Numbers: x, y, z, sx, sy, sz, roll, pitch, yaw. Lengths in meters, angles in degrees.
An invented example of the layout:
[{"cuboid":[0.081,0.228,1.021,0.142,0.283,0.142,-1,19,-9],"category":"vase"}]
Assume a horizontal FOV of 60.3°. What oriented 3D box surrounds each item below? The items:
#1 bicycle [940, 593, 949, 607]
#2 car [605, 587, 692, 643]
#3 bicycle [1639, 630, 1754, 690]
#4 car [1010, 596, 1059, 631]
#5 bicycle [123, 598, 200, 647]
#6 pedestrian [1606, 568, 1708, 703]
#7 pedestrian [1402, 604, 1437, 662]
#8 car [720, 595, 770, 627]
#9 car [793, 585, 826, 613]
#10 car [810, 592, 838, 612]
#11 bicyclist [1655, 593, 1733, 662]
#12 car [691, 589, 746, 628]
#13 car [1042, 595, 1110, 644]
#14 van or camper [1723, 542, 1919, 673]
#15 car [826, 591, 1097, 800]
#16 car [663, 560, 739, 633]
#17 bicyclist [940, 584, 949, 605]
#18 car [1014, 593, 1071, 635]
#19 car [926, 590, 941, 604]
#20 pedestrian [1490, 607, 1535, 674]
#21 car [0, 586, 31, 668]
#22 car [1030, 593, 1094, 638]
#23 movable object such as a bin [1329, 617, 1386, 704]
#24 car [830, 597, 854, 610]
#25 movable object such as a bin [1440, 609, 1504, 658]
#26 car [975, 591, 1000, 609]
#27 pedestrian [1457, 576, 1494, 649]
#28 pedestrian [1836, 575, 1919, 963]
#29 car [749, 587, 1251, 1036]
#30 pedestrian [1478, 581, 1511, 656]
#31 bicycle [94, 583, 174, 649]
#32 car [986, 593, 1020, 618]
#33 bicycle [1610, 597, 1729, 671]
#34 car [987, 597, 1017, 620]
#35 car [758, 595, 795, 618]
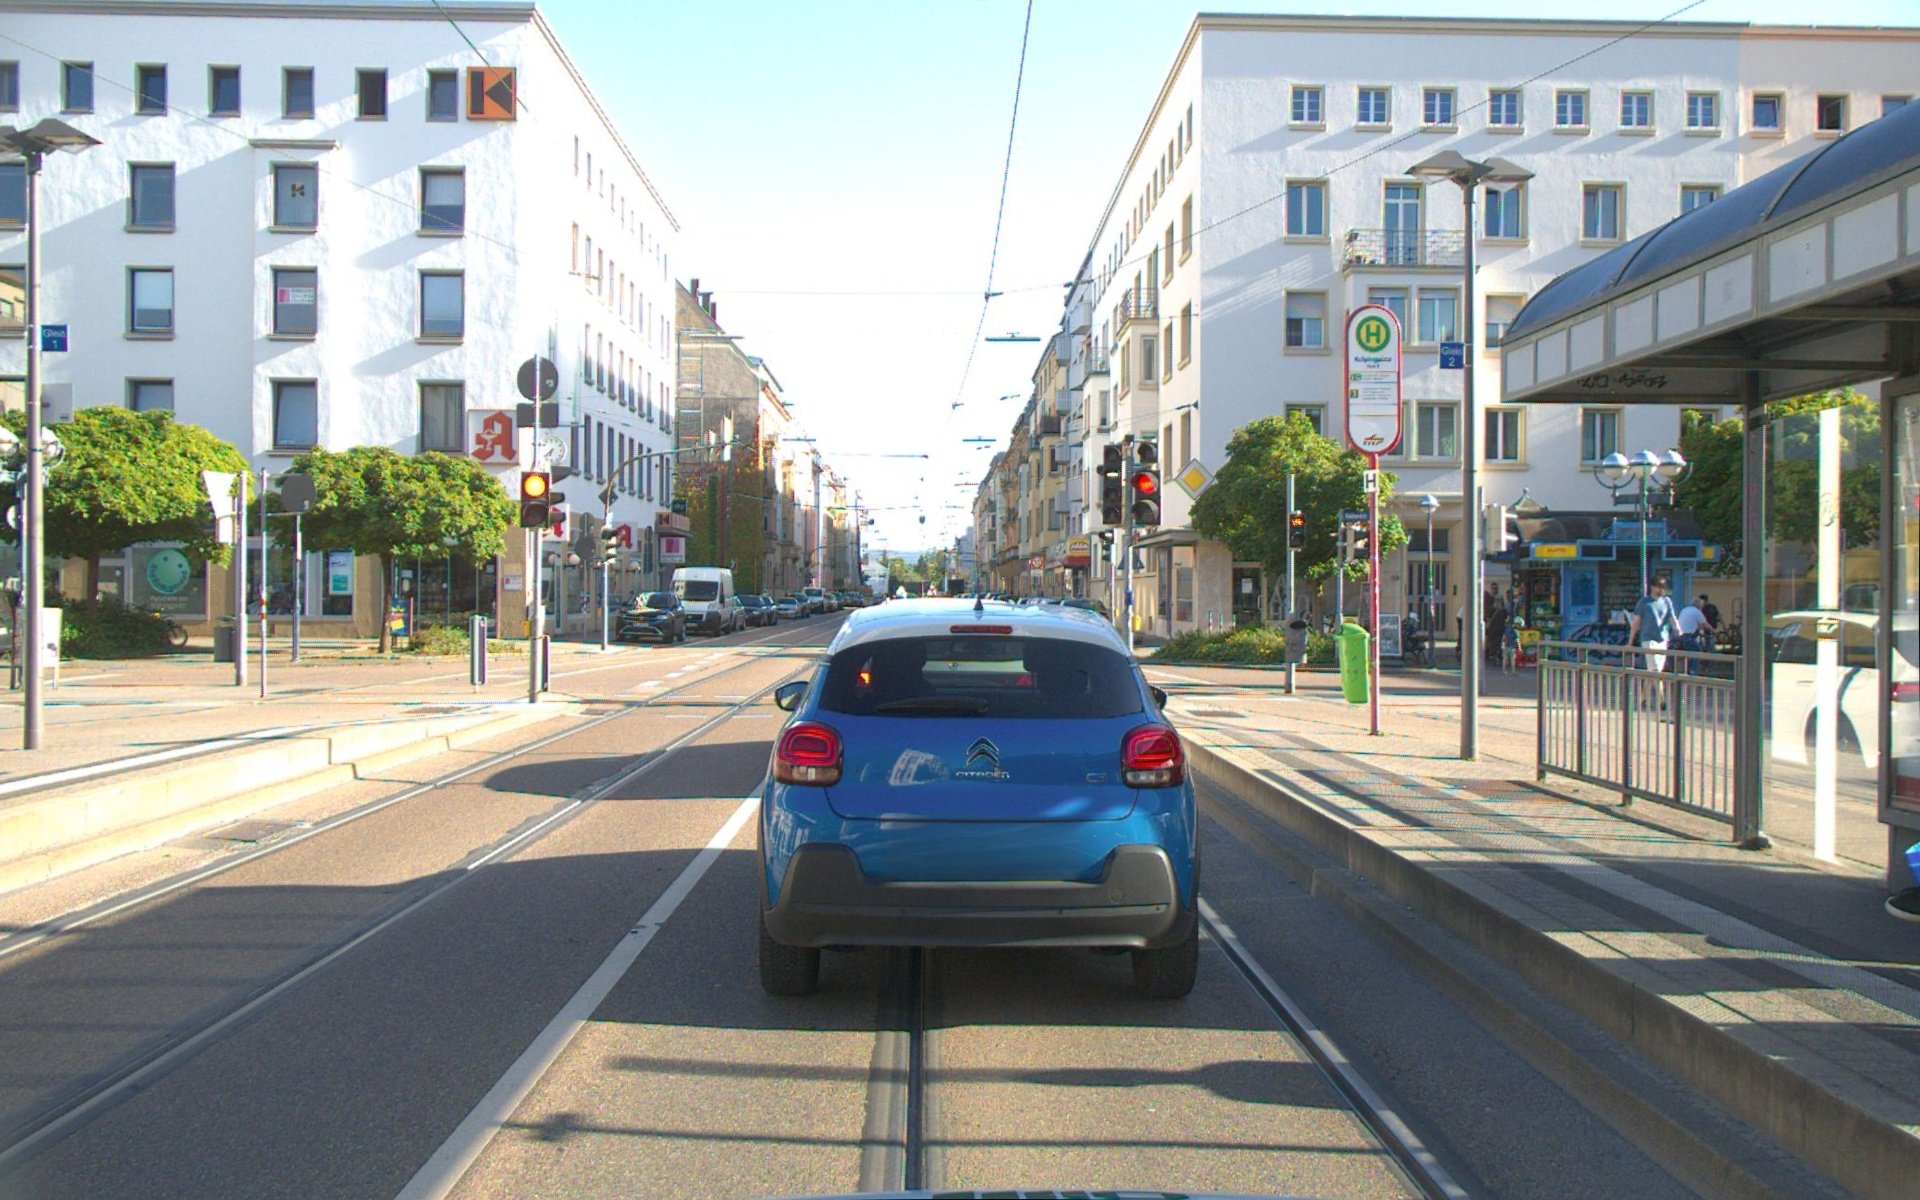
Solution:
[{"cuboid":[-1.563,0.005,166.732,0.901,1.413,3.131,0,0,-1],"category":"bicycle"},{"cuboid":[-9.786,0.465,52.257,1.953,1.596,4.401,3,0,-2],"category":"car"},{"cuboid":[13.823,1.128,31.010,2.289,1.080,0.714,2,0,-29],"category":"bicycle"},{"cuboid":[3.243,0.589,72.925,1.953,1.489,4.000,0,0,0],"category":"car"},{"cuboid":[-20.622,0.560,42.775,0.605,1.211,2.621,0,0,2],"category":"bicycle"},{"cuboid":[10.113,0.511,24.040,0.961,1.910,1.128,0,-1,-3],"category":"pedestrian"},{"cuboid":[10.894,0.772,39.234,0.725,1.339,0.628,0,0,22],"category":"pedestrian"},{"cuboid":[-10.096,0.496,77.924,1.953,1.422,4.155,1,0,-2],"category":"car"},{"cuboid":[-11.481,-0.060,126.566,1.965,2.049,4.690,1,0,1],"category":"car"},{"cuboid":[-11.189,0.209,136.456,1.914,1.579,3.939,1,0,1],"category":"car"},{"cuboid":[13.734,0.513,30.944,0.920,1.247,0.945,2,0,-28],"category":"bicyclist"},{"cuboid":[-10.081,0.354,69.279,1.849,1.522,3.561,1,0,-1],"category":"car"},{"cuboid":[3.634,0.593,52.447,1.870,1.489,4.000,0,0,0],"category":"car"},{"cuboid":[20.984,0.134,36.717,6.976,2.795,2.371,0,1,0],"category":"van or camper"},{"cuboid":[-0.027,0.688,14.436,1.944,1.490,4.814,1,0,-1],"category":"car"},{"cuboid":[-9.730,-0.129,62.597,2.043,2.586,6.203,1,0,-2],"category":"car"},{"cuboid":[-1.575,-0.577,166.648,0.793,2.049,0.922,1,-1,-1],"category":"bicyclist"},{"cuboid":[3.105,0.519,62.969,1.953,1.527,4.000,0,0,0],"category":"car"},{"cuboid":[-3.325,-0.363,208.415,1.953,1.803,3.999,0,0,-1],"category":"car"},{"cuboid":[12.273,0.895,36.760,0.715,1.434,0.755,0,3,-1],"category":"pedestrian"},{"cuboid":[-22.384,0.568,35.428,3.906,1.736,1.825,0,0,-1],"category":"car"},{"cuboid":[3.493,0.515,57.343,1.953,1.489,4.000,0,0,0],"category":"car"},{"cuboid":[3.740,0.563,15.578,0.439,0.800,0.489,0,0,2],"category":"movable object such as a bin"},{"cuboid":[-10.980,0.345,153.751,1.953,1.176,4.000,0,0,0],"category":"car"},{"cuboid":[12.501,0.814,40.426,1.174,1.173,1.217,0,0,0],"category":"movable object such as a bin"},{"cuboid":[2.192,-0.008,133.255,1.953,1.489,4.000,0,0,0],"category":"car"},{"cuboid":[13.286,0.315,42.630,0.768,1.871,0.678,0,0,2],"category":"pedestrian"},{"cuboid":[3.593,0.568,5.346,0.978,1.246,0.923,3,-1,-1],"category":"pedestrian"},{"cuboid":[0.108,0.720,7.573,1.693,1.508,3.826,1,0,-1],"category":"car"},{"cuboid":[13.501,0.466,41.774,0.639,1.871,0.659,0,0,2],"category":"pedestrian"},{"cuboid":[-21.331,0.400,42.788,0.605,1.635,2.621,0,0,3],"category":"bicycle"},{"cuboid":[2.616,0.312,102.099,1.953,1.489,4.504,0,0,0],"category":"car"},{"cuboid":[15.893,0.763,37.086,2.336,1.558,0.726,2,0,-2],"category":"bicycle"},{"cuboid":[2.746,0.541,108.859,1.952,1.489,4.000,0,0,0],"category":"car"},{"cuboid":[-11.427,0.397,103.031,1.953,1.348,3.921,1,0,-2],"category":"car"}]
